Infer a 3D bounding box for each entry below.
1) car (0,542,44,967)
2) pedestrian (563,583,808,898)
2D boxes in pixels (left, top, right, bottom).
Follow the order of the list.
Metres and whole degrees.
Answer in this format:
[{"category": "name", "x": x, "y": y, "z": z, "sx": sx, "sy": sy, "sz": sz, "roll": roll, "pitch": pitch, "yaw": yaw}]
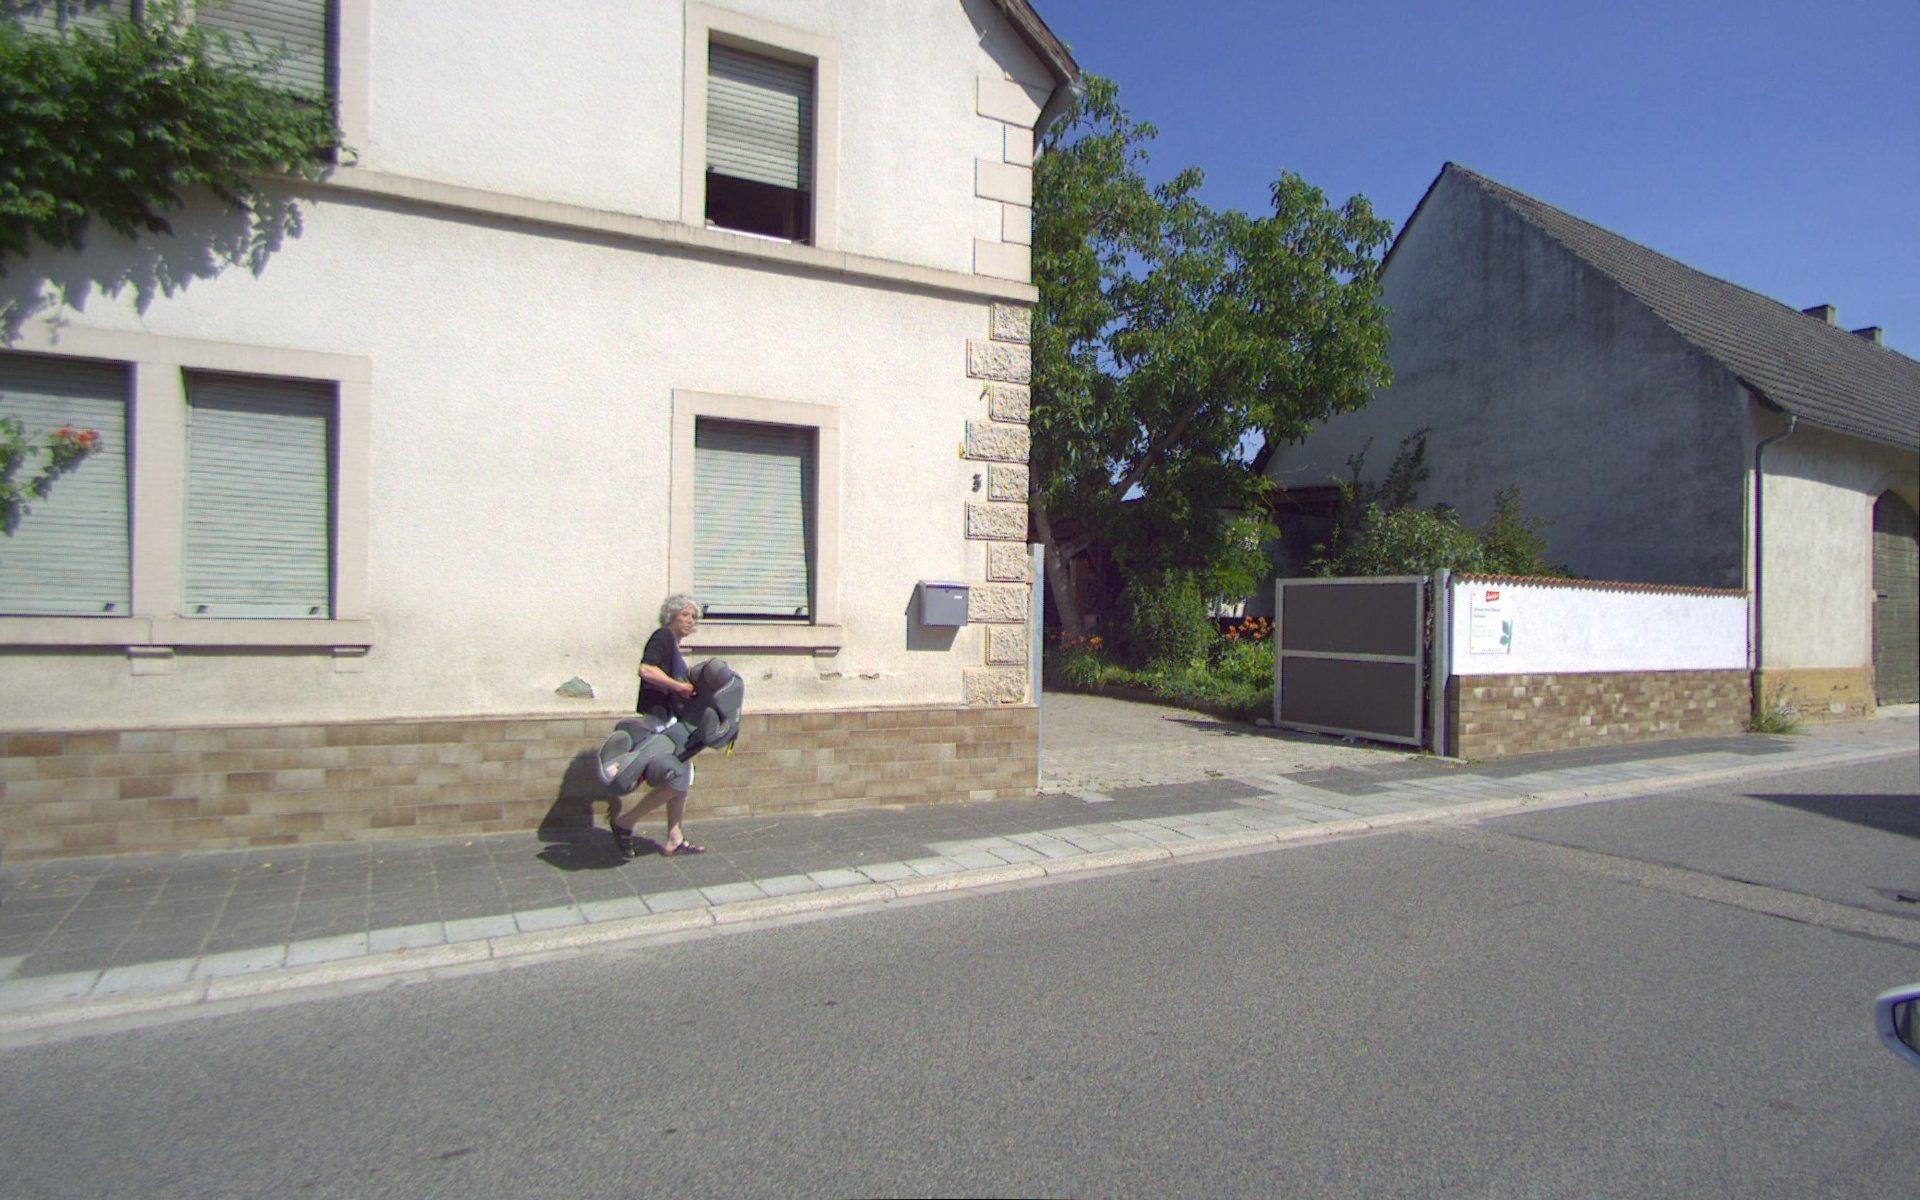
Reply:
[{"category": "car", "x": -5.416, "y": 0.563, "z": 2.436, "sx": 4.378, "sy": 1.669, "sz": 1.846, "roll": 1, "pitch": -1, "yaw": -31}, {"category": "pedestrian", "x": -1.587, "y": 0.712, "z": 5.738, "sx": 1.126, "sy": 1.572, "sz": 1.009, "roll": 1, "pitch": 0, "yaw": -30}]
